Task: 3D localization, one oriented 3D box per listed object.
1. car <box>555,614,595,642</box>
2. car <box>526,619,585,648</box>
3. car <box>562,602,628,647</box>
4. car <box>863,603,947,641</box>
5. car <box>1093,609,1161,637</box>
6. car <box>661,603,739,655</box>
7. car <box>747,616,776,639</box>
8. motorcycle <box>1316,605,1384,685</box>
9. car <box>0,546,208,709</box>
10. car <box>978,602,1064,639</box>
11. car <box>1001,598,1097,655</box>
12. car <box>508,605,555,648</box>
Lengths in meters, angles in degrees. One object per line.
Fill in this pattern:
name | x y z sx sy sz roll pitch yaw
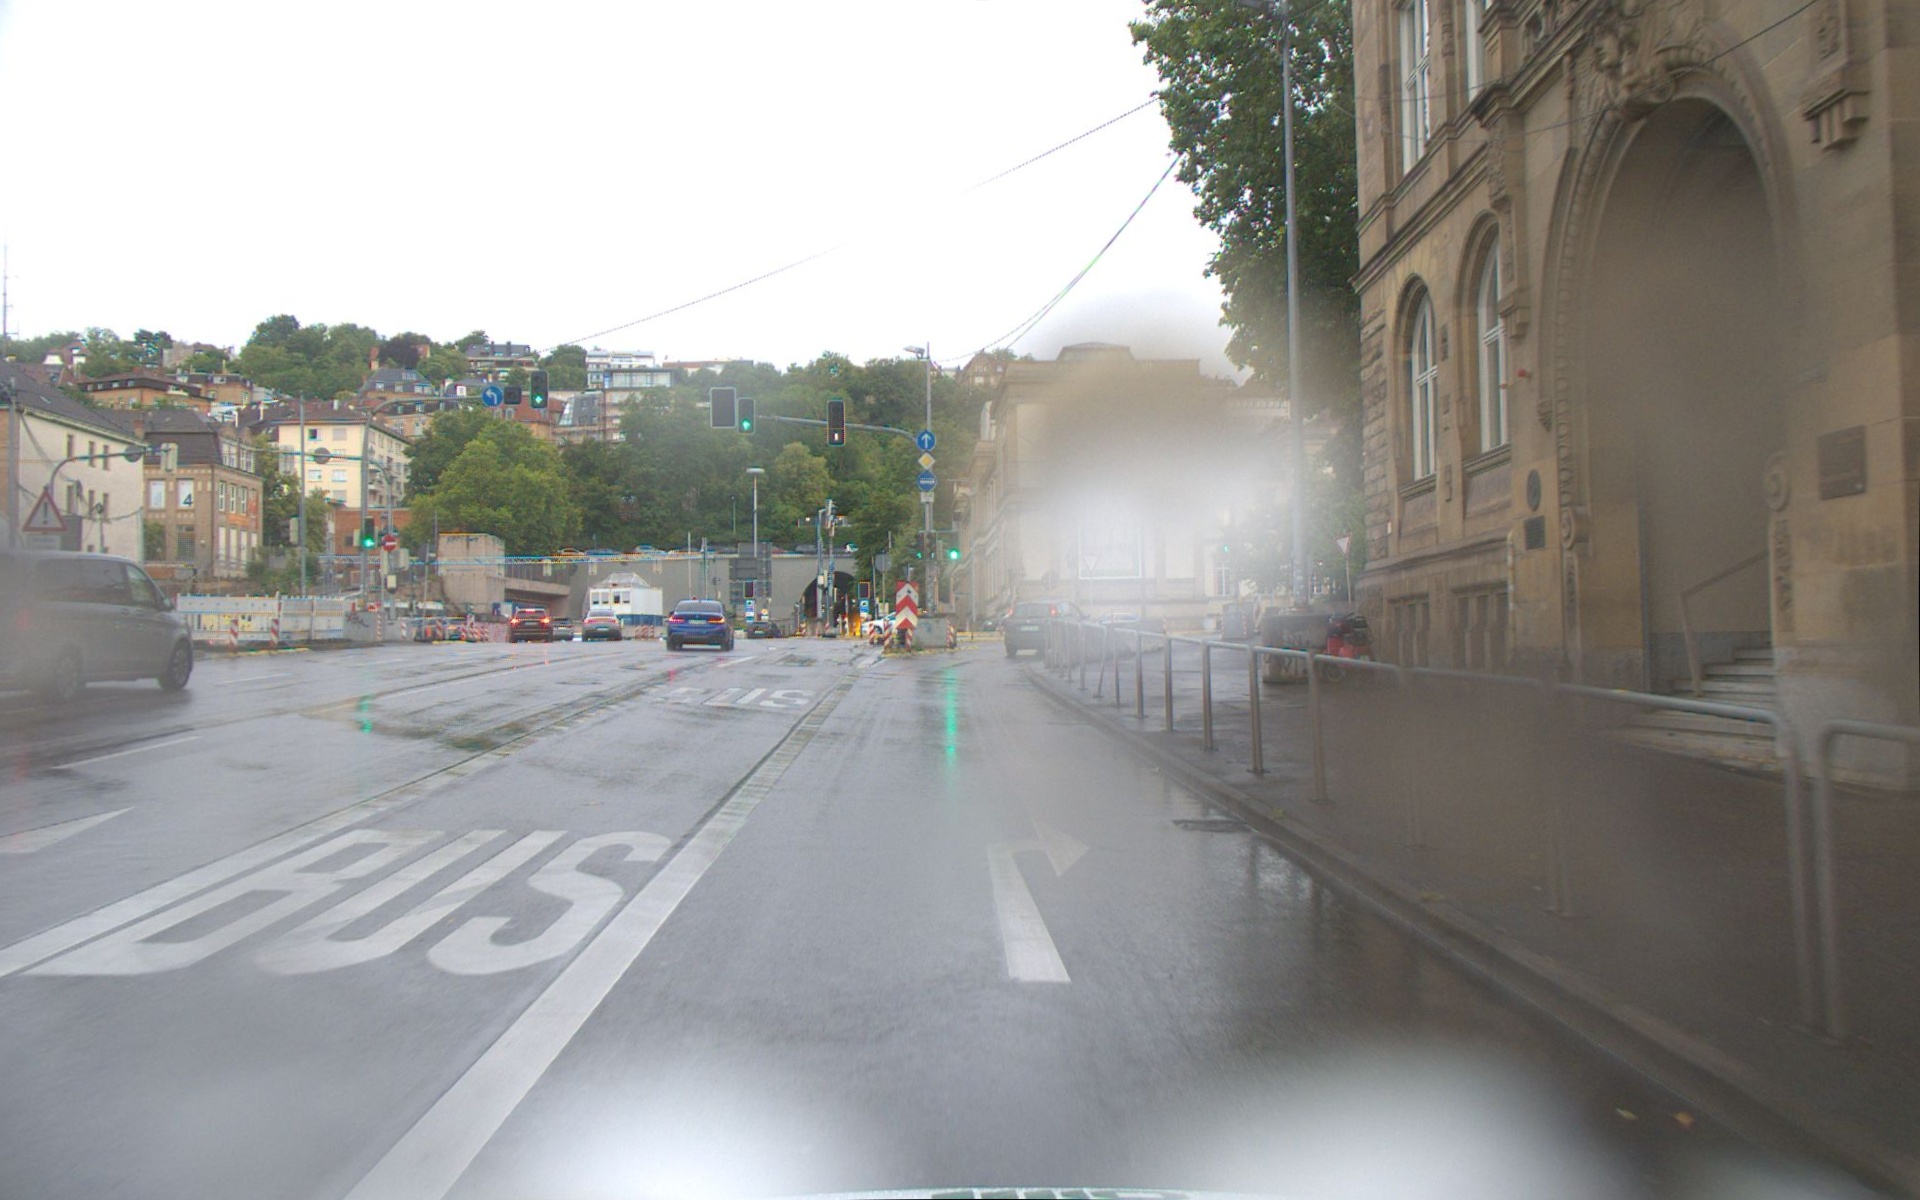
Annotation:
car | -29.397 2.117 126.438 1.952 2.049 4.001 0 0 2
car | -22.494 1.835 91.973 1.764 1.489 3.945 0 0 -38
car | -17.262 1.115 78.127 1.971 2.049 4.254 0 0 -28
car | -3.043 1.228 91.594 4.537 2.049 1.998 0 0 -6
car | 10.622 1.475 105.502 4.096 1.730 1.822 0 0 -1
car | -7.579 0.831 48.551 1.954 1.464 3.996 0 -1 -5
car | -12.805 1.780 106.931 1.463 1.378 3.999 1 0 -1
motorcycle | 5.926 0.668 25.203 0.535 1.158 1.898 -1 0 -1
car | -11.748 0.336 21.359 1.953 1.871 4.683 0 -1 0
car | 3.393 1.147 92.387 4.584 2.049 1.998 0 0 -6
car | 2.414 0.665 43.950 1.635 1.452 3.759 0 0 18
car | -18.801 1.139 72.486 1.749 1.780 3.979 0 0 -18
